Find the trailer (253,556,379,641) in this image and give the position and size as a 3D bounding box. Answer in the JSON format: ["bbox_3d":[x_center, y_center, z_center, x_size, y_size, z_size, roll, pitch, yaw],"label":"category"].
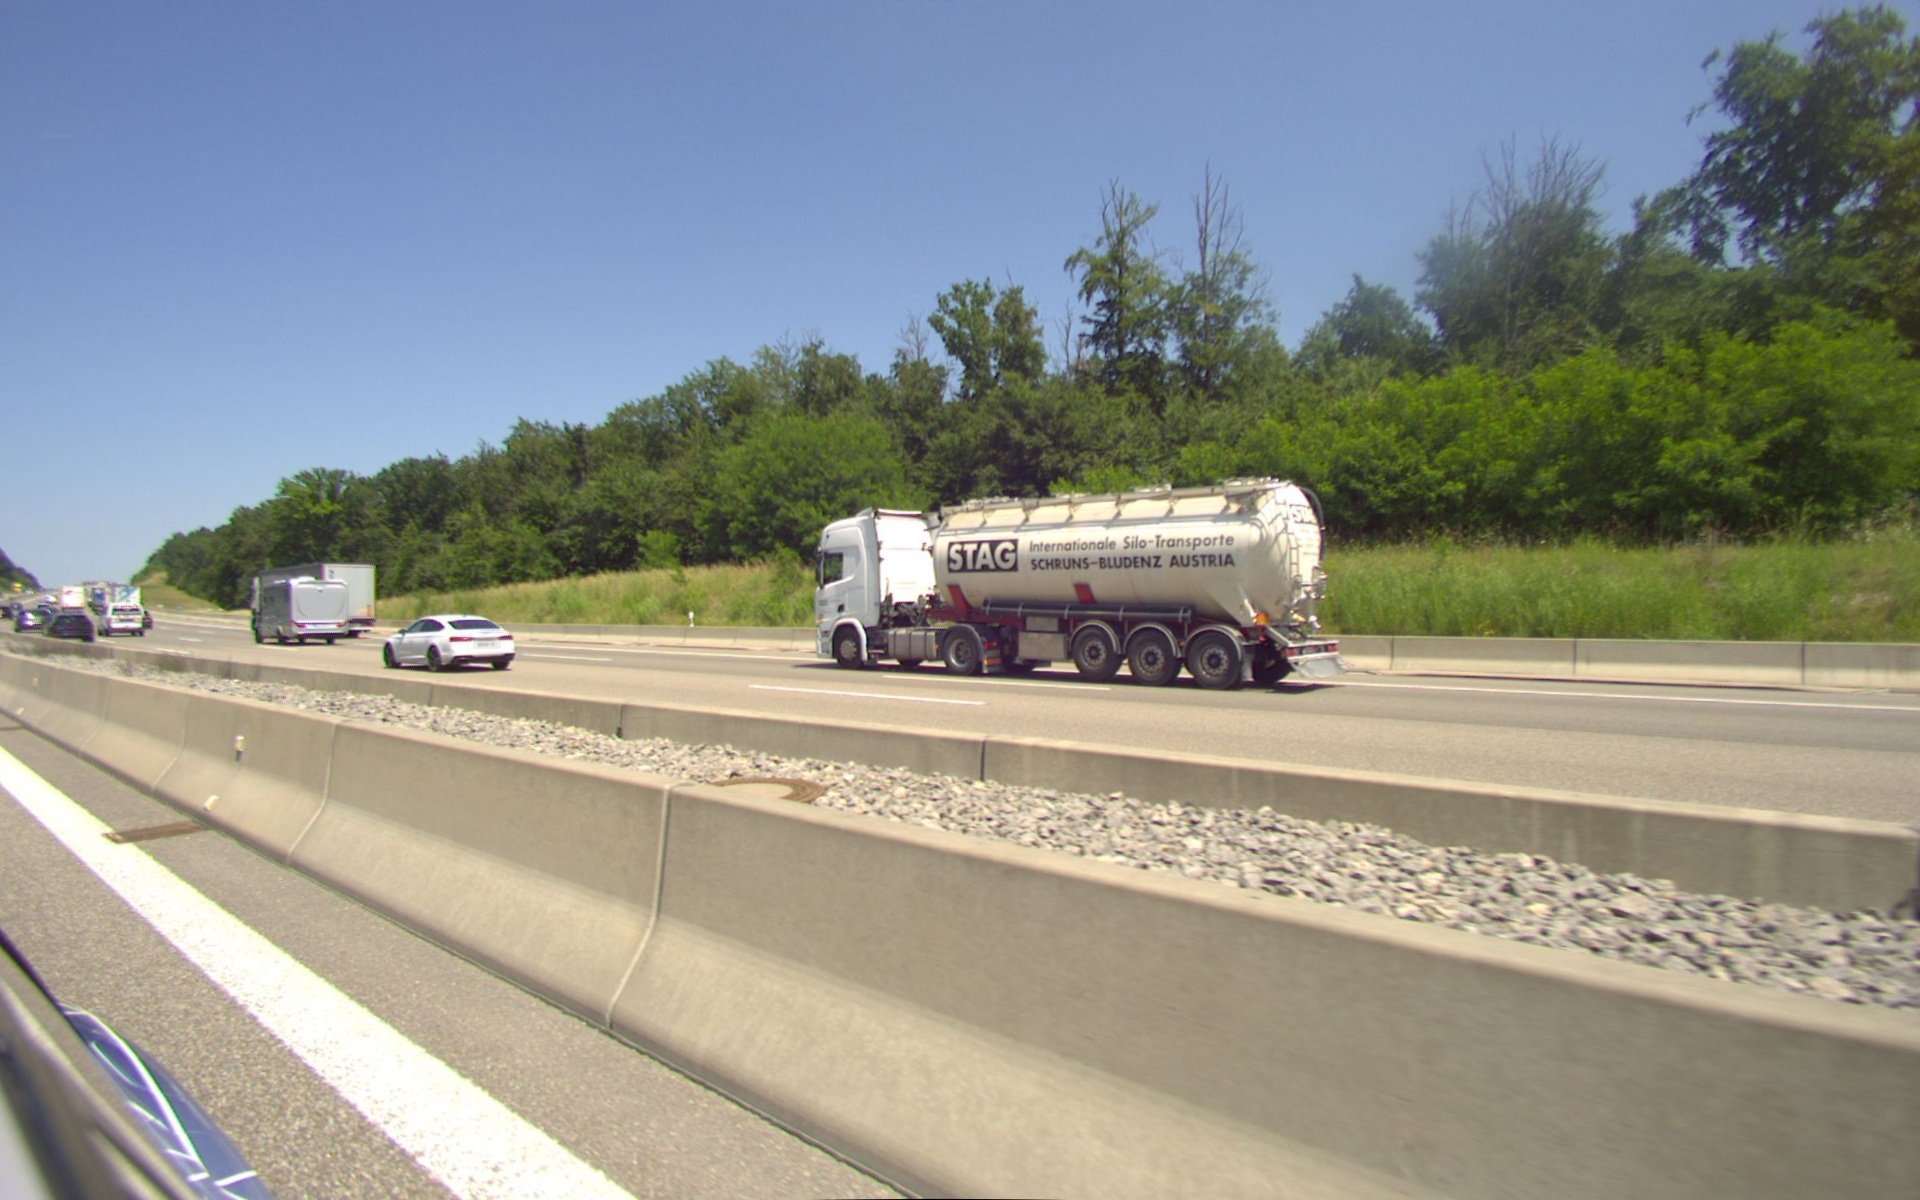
[{"bbox_3d":[-37.679,-0.075,58.822,14.282,4.393,2.997,0,0,45],"label":"trailer"}]

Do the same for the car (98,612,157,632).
[{"bbox_3d":[-64.903,1.741,78.880,4.778,1.507,1.980,-1,-1,30],"label":"car"}]

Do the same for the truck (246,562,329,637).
[{"bbox_3d":[-42.005,-0.042,63.111,6.458,4.405,3.008,0,0,44],"label":"truck"}]

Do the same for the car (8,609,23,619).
[{"bbox_3d":[-158.163,2.365,169.438,1.729,1.530,4.830,0,-1,-44],"label":"car"}]

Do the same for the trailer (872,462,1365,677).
[{"bbox_3d":[2.725,-0.506,21.244,10.491,3.561,2.623,0,0,42],"label":"trailer"}]

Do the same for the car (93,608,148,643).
[{"bbox_3d":[-50.879,1.541,61.278,5.185,2.029,1.980,-1,-1,44],"label":"car"}]

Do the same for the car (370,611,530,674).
[{"bbox_3d":[-13.326,1.048,26.291,5.045,1.470,1.973,-1,-1,41],"label":"car"}]

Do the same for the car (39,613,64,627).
[{"bbox_3d":[-102.346,2.226,113.952,4.000,1.476,1.756,0,0,43],"label":"car"}]

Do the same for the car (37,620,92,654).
[{"bbox_3d":[-44.780,1.802,50.574,4.953,1.508,1.655,0,0,44],"label":"car"}]

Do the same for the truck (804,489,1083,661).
[{"bbox_3d":[-0.558,-0.531,24.211,6.619,3.570,2.675,0,0,42],"label":"truck"}]

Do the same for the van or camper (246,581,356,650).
[{"bbox_3d":[-30.420,0.705,46.587,7.348,2.953,2.531,-1,-1,43],"label":"van or camper"}]

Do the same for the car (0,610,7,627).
[{"bbox_3d":[-106.342,2.056,111.507,4.986,1.843,1.807,-1,-1,45],"label":"car"}]

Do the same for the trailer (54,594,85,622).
[{"bbox_3d":[-139.903,1.197,158.915,2.903,4.131,12.161,-1,0,-45],"label":"trailer"}]

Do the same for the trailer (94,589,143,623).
[{"bbox_3d":[-104.309,0.789,125.291,15.293,4.068,3.193,-1,-1,45],"label":"trailer"}]

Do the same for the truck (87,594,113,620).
[{"bbox_3d":[-141.361,1.189,166.269,2.690,4.044,6.941,0,-1,-45],"label":"truck"}]

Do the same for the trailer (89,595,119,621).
[{"bbox_3d":[-136.661,1.196,161.492,2.692,3.953,10.770,-1,0,-45],"label":"trailer"}]

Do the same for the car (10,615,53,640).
[{"bbox_3d":[-64.182,1.885,69.904,5.164,1.645,1.852,-1,-1,44],"label":"car"}]
